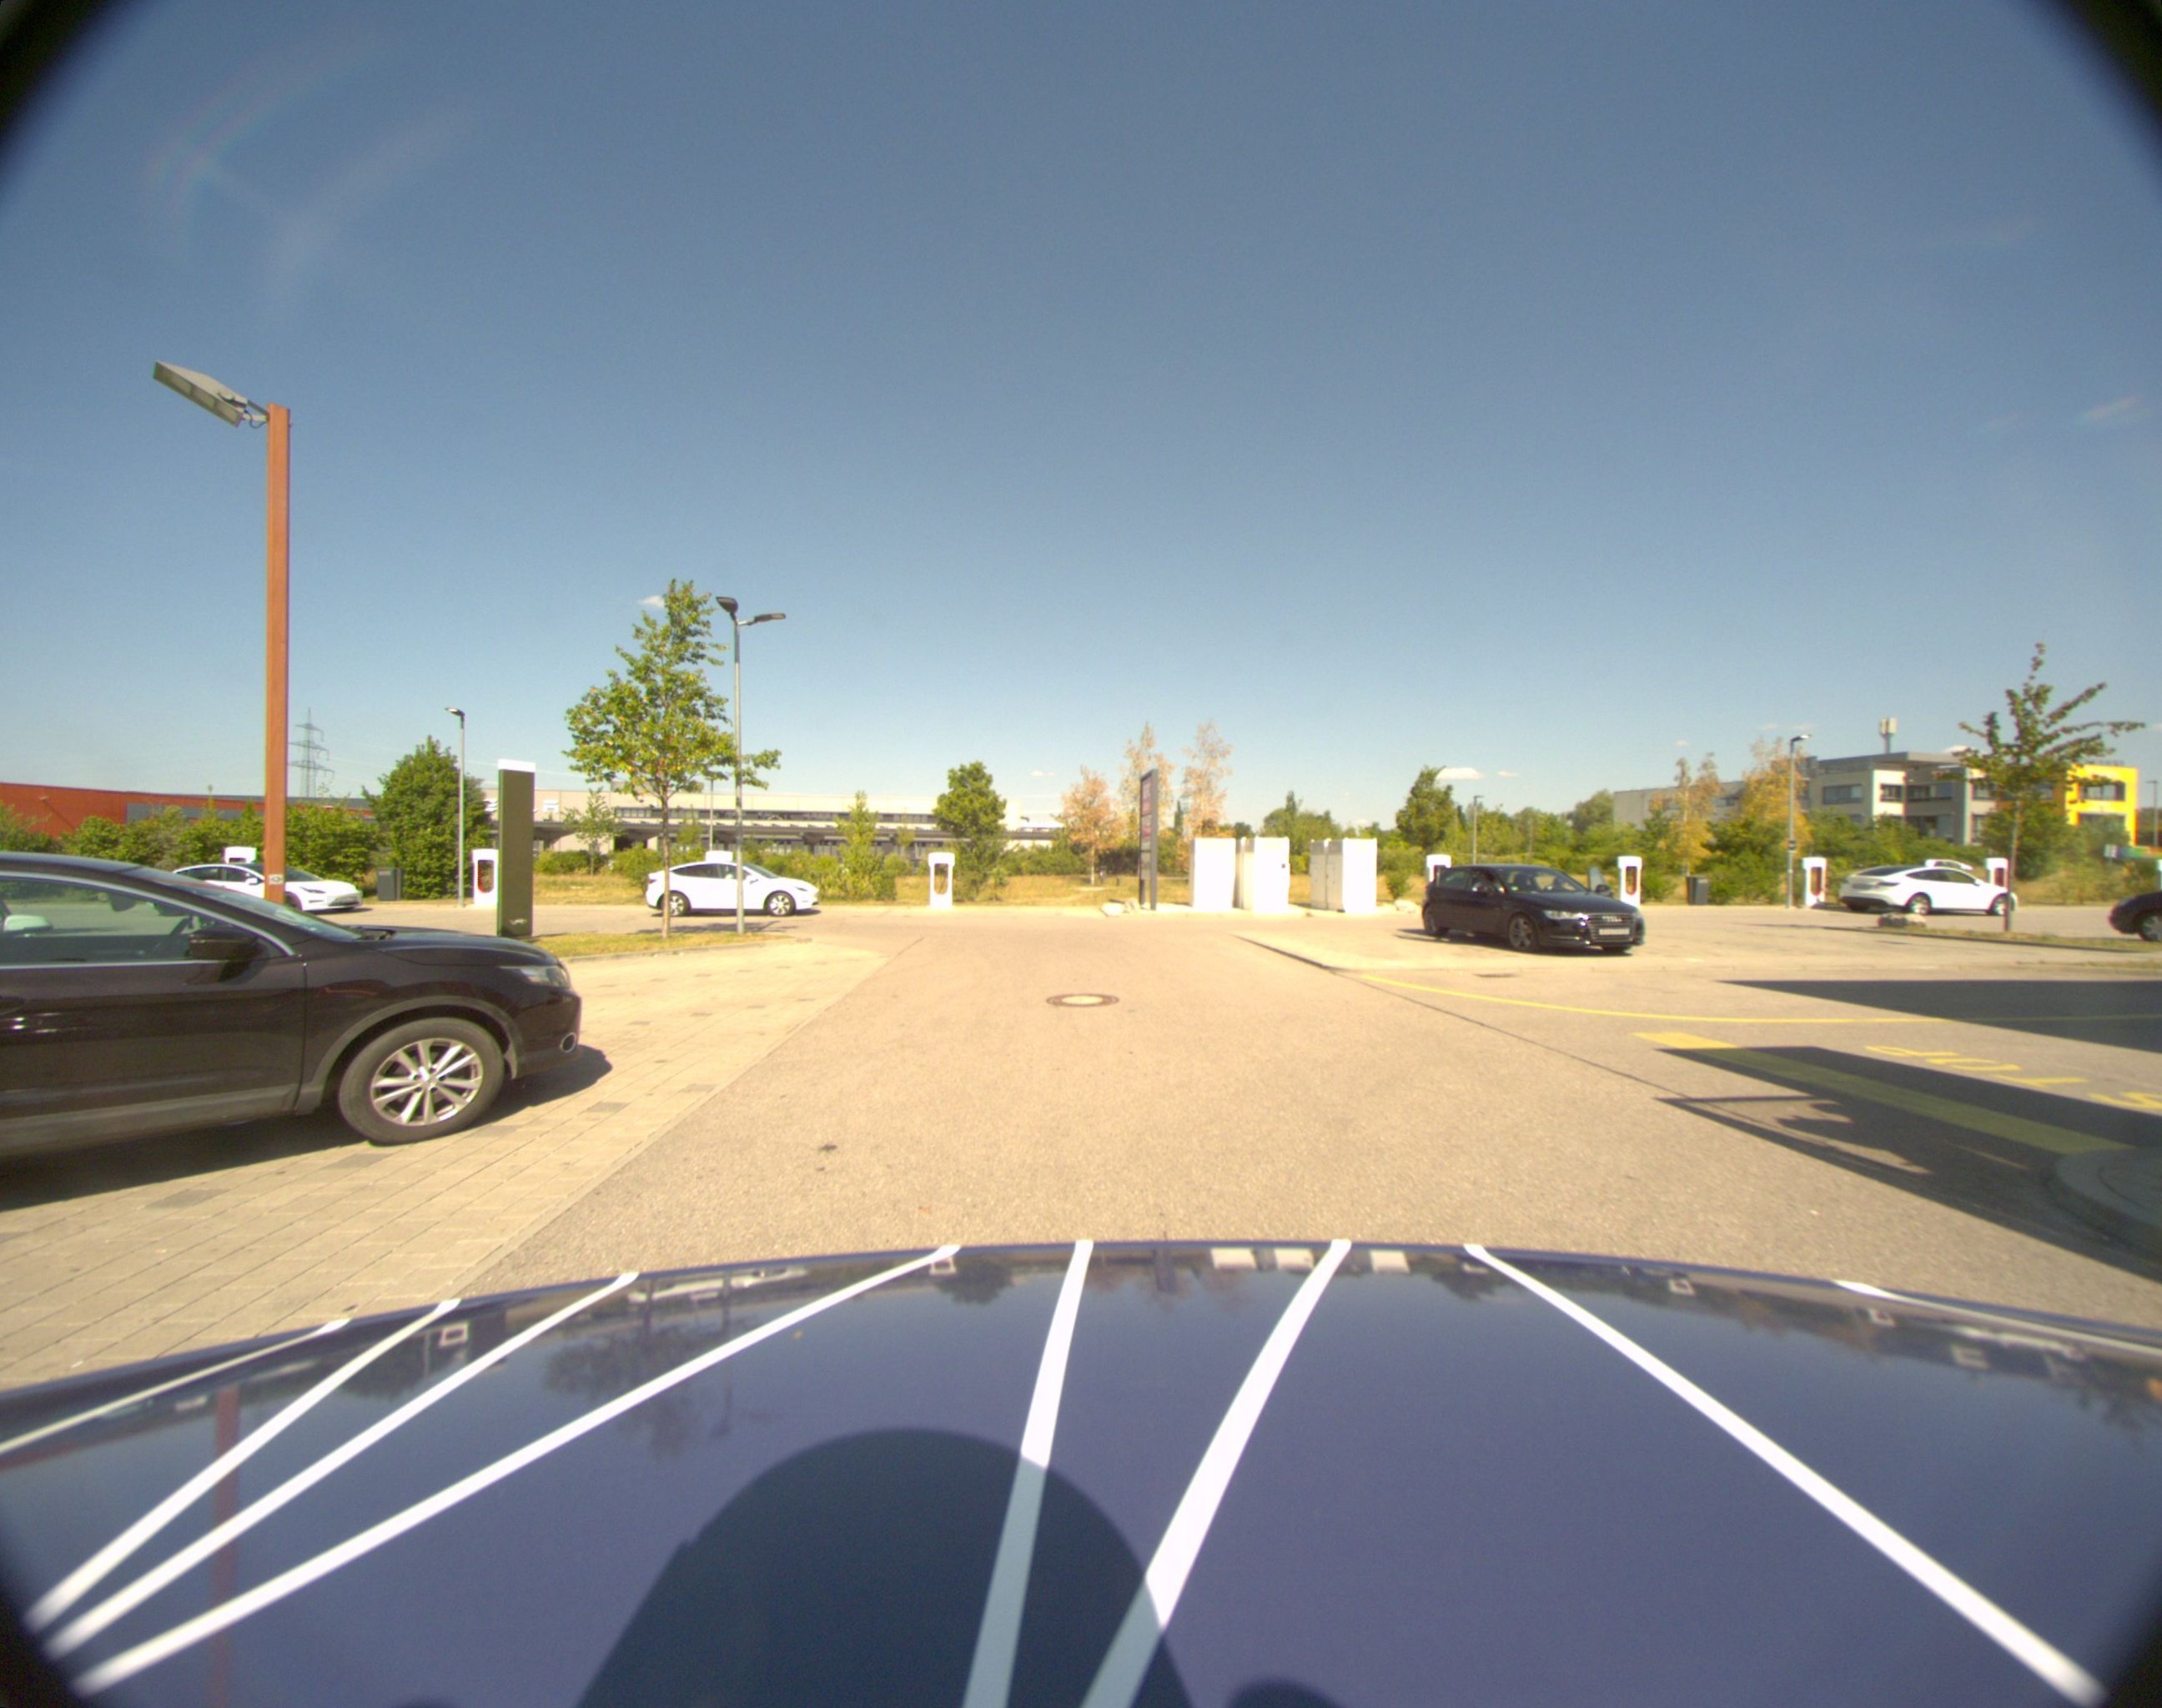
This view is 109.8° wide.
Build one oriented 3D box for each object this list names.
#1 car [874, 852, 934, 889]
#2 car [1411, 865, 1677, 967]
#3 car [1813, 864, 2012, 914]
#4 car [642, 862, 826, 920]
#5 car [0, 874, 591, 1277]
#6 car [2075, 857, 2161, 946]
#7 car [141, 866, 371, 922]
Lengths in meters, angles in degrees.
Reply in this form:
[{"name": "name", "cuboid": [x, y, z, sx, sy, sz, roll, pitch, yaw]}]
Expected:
[{"name": "car", "cuboid": [-8.758, 0.774, 37.942, 1.917, 1.739, 4.257, 0, 0, 1]}, {"name": "car", "cuboid": [7.720, 0.936, 13.260, 1.729, 1.403, 4.312, 0, 0, -5]}, {"name": "car", "cuboid": [28.048, 1.158, 25.739, 4.431, 1.518, 2.217, 0, 2, -3]}, {"name": "car", "cuboid": [-10.022, 1.031, 22.266, 4.576, 1.583, 1.841, 0, 0, -8]}, {"name": "car", "cuboid": [-5.119, 0.927, 3.640, 1.852, 1.581, 4.313, 0, 0, 41]}, {"name": "car", "cuboid": [20.066, 0.818, 12.243, 2.000, 1.560, 4.548, 0, 0, -7]}, {"name": "car", "cuboid": [-23.247, 1.104, 21.566, 4.331, 1.470, 1.842, 0, 0, -4]}]
